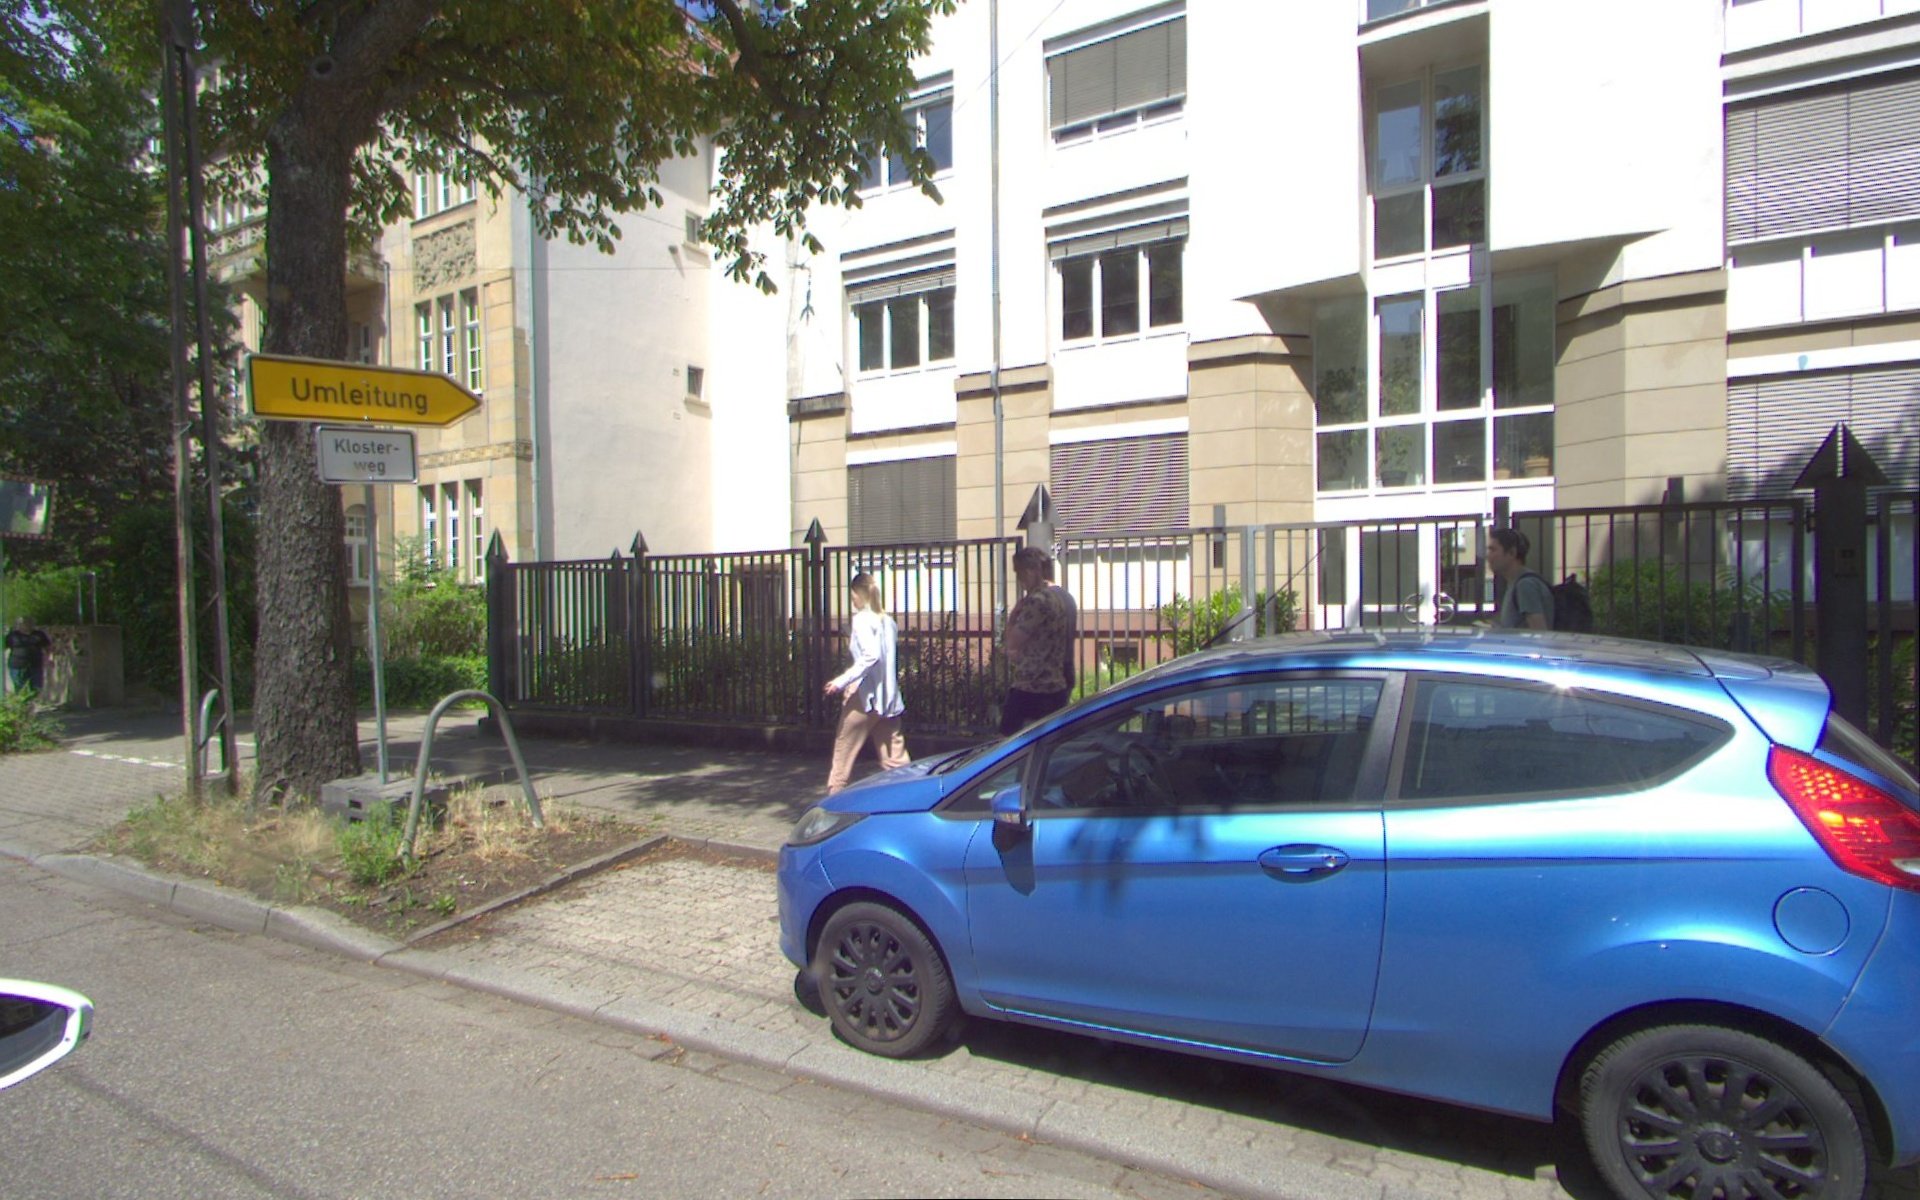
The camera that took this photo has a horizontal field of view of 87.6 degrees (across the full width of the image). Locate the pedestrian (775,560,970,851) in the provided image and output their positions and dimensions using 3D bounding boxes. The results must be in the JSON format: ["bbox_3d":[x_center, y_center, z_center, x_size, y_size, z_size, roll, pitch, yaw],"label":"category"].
[{"bbox_3d":[-0.545,0.616,6.334,0.959,1.673,0.765,0,0,31],"label":"pedestrian"}]

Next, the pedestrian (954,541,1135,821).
[{"bbox_3d":[0.599,0.523,6.960,1.035,1.785,0.787,0,0,26],"label":"pedestrian"}]

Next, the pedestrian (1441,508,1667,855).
[{"bbox_3d":[3.407,0.437,5.817,1.067,1.821,0.683,0,0,29],"label":"pedestrian"}]

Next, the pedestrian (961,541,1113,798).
[{"bbox_3d":[0.594,0.505,7.663,0.962,1.835,0.660,0,0,29],"label":"pedestrian"}]

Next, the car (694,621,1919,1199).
[{"bbox_3d":[0.986,0.821,3.694,3.663,1.462,1.676,-1,0,28],"label":"car"}]

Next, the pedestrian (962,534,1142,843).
[{"bbox_3d":[0.594,0.524,6.378,0.932,1.800,0.704,0,0,28],"label":"pedestrian"}]

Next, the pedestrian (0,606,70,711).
[{"bbox_3d":[-15.455,0.947,16.621,0.826,1.667,0.854,0,0,37],"label":"pedestrian"}]
